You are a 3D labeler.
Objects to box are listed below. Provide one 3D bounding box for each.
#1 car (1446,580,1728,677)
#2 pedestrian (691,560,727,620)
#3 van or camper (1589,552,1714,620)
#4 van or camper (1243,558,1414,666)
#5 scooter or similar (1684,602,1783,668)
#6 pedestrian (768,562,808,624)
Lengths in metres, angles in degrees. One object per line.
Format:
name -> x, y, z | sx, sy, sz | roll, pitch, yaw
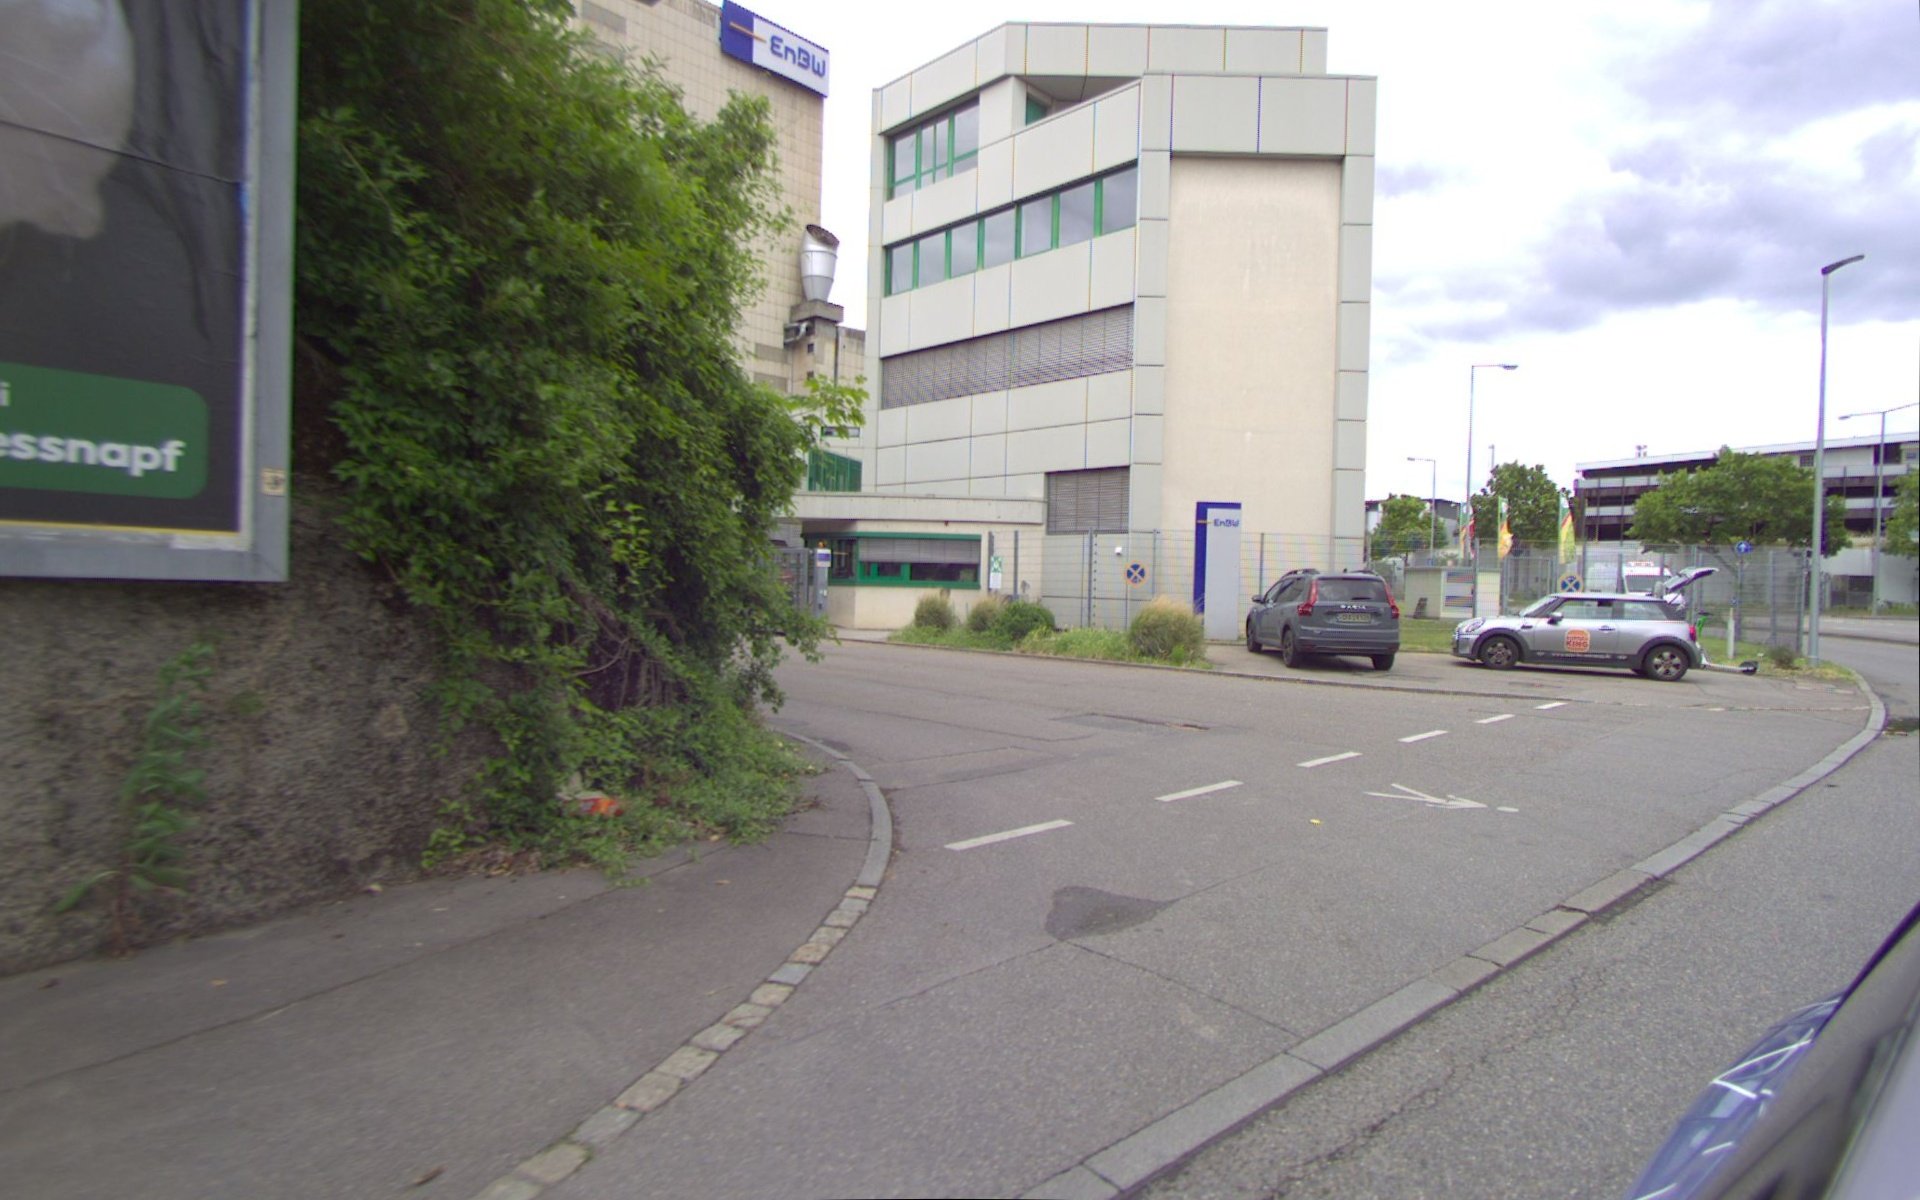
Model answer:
car -> 10.907, 0.425, 17.972 | 3.977, 1.449, 1.772 | 2, 2, 24
pedestrian -> -7.337, -0.300, 29.538 | 0.769, 1.707, 0.715 | 1, 1, -37
van or camper -> 28.404, -0.626, 41.856 | 2.240, 2.588, 6.082 | 0, 1, 14
van or camper -> 6.480, 0.137, 18.342 | 1.800, 1.715, 4.501 | 0, 1, 5
scooter or similar -> 14.998, 0.661, 19.646 | 0.472, 1.147, 1.418 | 0, 3, -40
pedestrian -> -4.653, -0.195, 27.399 | 0.769, 1.640, 0.715 | 1, 1, -37
